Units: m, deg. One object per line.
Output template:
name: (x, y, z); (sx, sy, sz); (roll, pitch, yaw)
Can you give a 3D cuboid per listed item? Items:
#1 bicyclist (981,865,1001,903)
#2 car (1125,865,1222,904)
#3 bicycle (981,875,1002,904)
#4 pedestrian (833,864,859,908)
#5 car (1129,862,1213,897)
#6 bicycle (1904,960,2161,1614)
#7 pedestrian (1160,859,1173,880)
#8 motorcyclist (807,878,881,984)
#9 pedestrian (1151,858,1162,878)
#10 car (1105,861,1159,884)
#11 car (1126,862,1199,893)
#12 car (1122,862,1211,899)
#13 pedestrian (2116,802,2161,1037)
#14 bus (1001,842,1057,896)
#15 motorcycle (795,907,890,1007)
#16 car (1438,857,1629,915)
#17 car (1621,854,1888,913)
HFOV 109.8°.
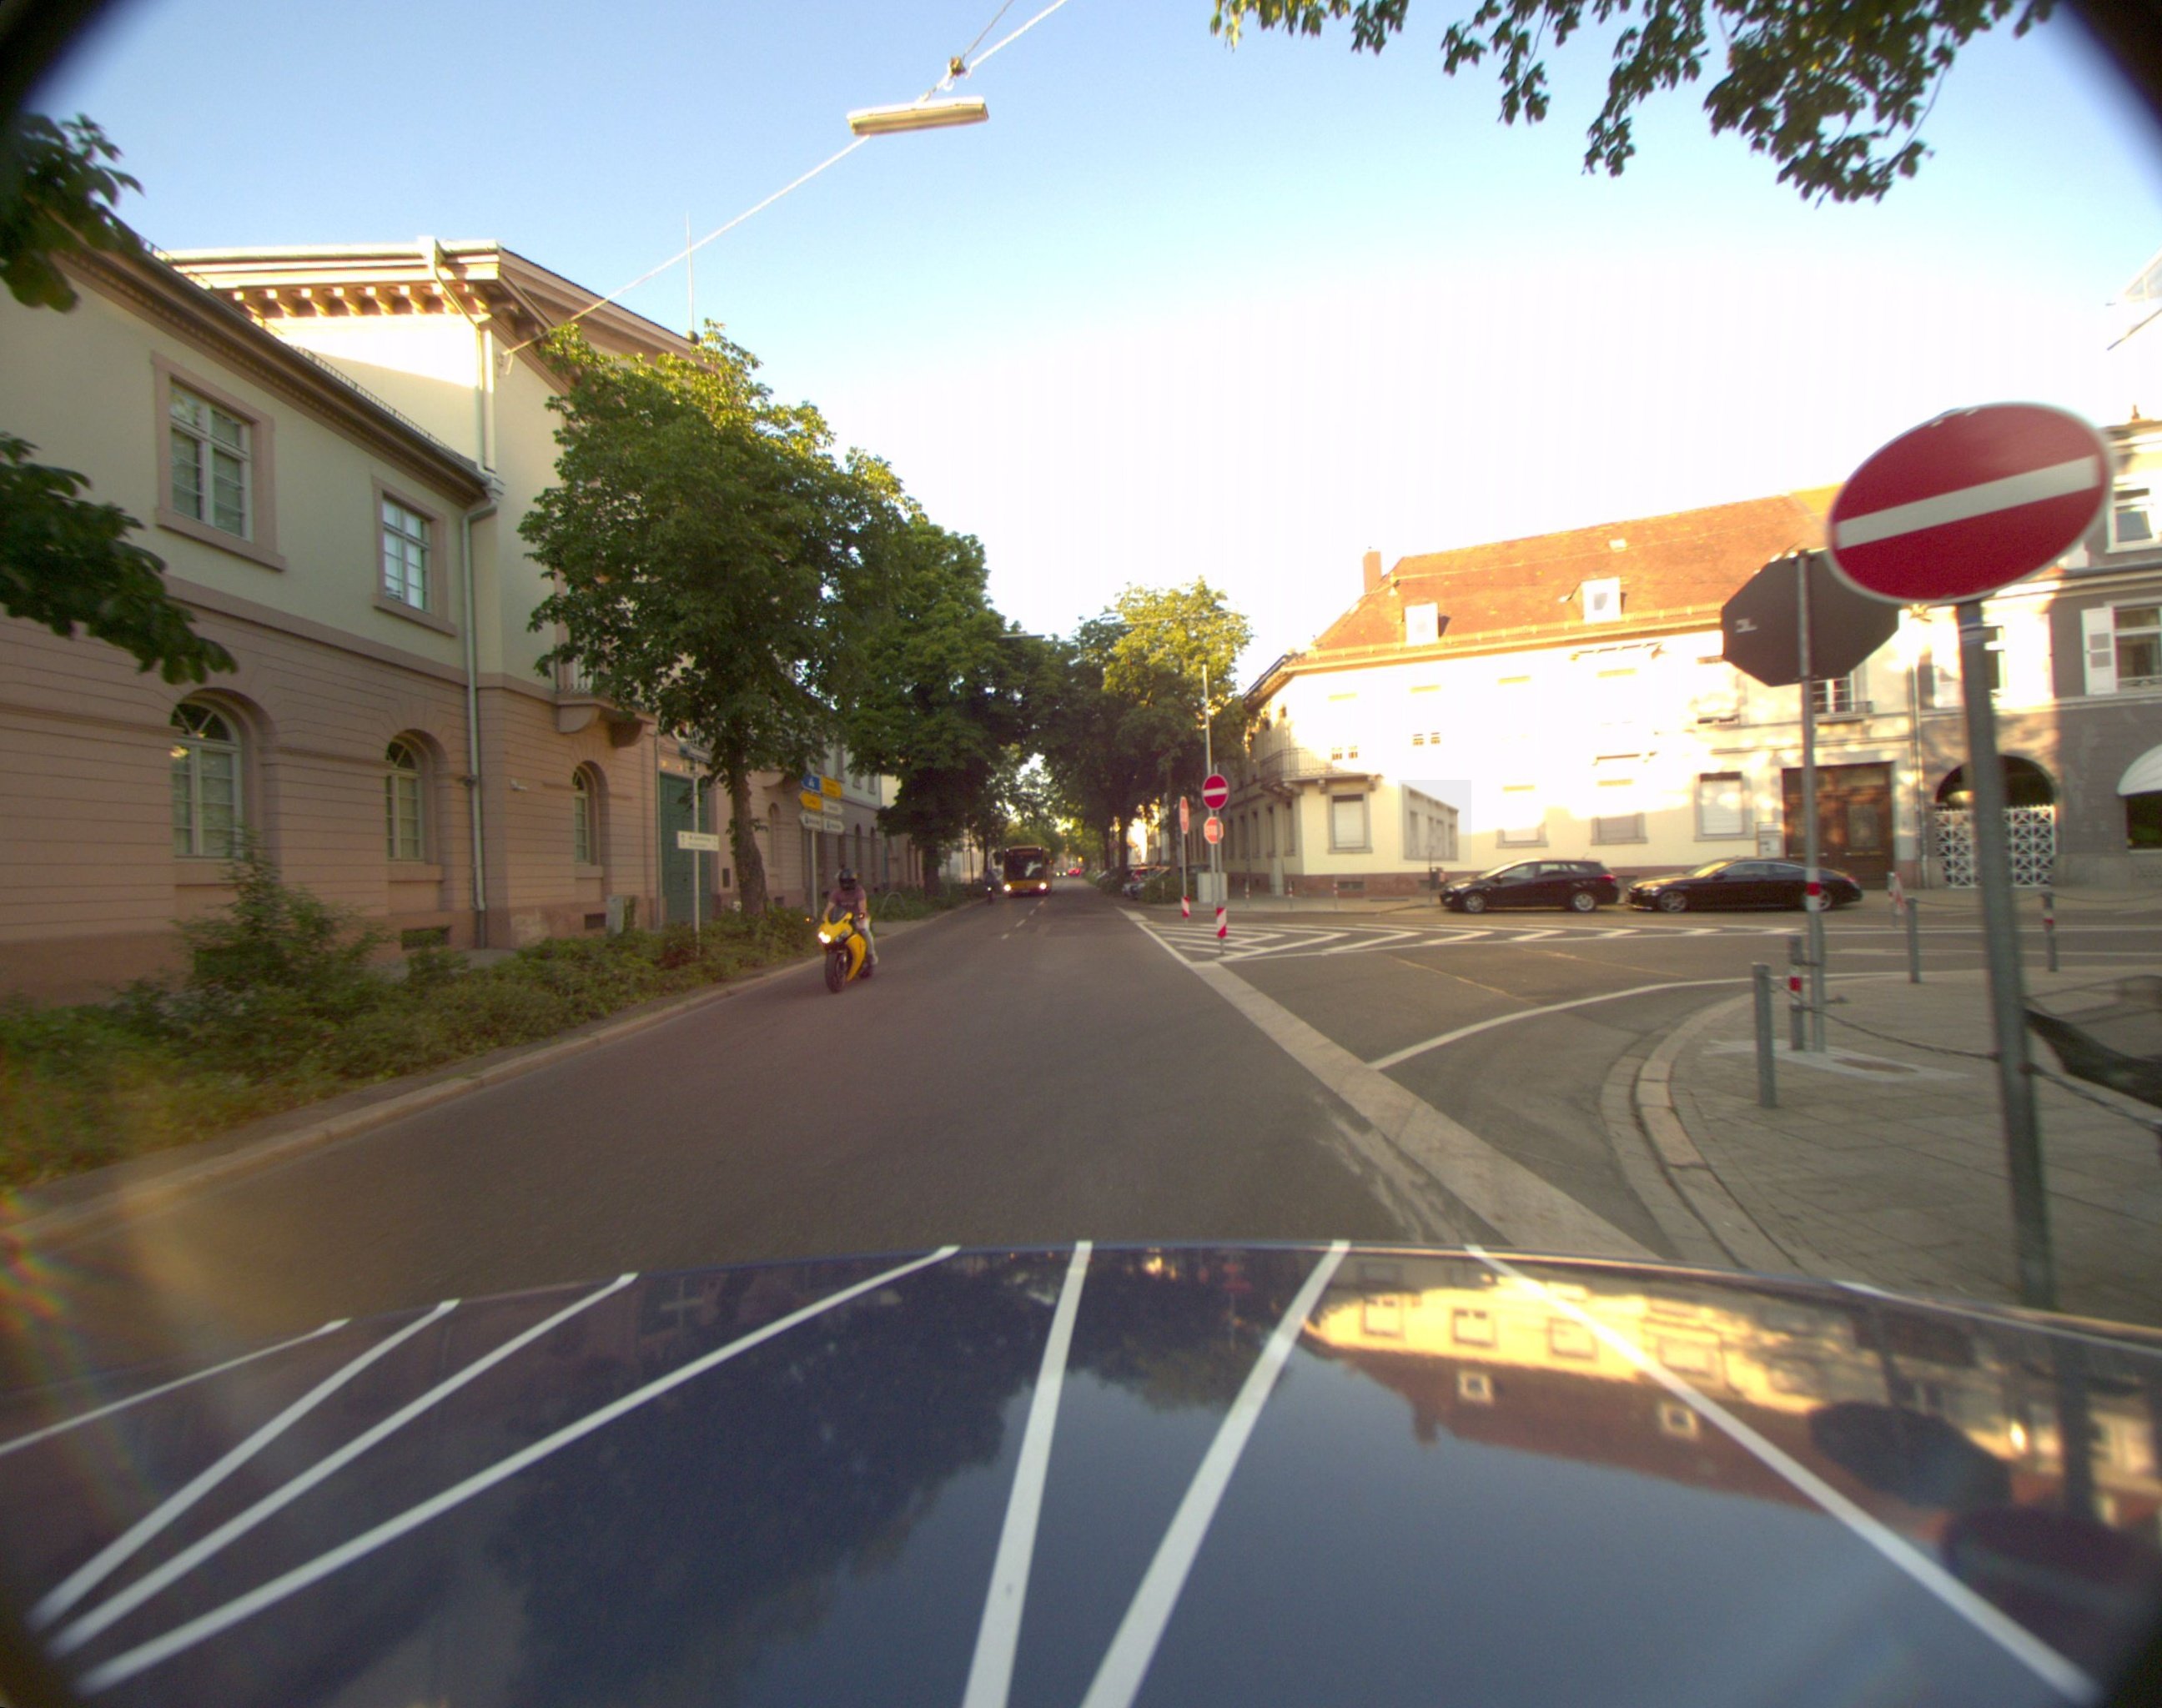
bicyclist: (-4.509, 1.510, 38.232); (0.783, 1.828, 0.826); (-4, 0, -1)
car: (4.062, 1.331, 33.749); (3.998, 1.605, 1.828); (-2, 0, -2)
bicycle: (-4.494, 1.768, 38.280); (0.783, 1.322, 2.078); (-4, 0, 0)
pedestrian: (-10.092, 1.352, 32.671); (0.800, 1.821, 0.929); (-2, 0, -3)
car: (4.517, 1.287, 38.592); (3.998, 1.605, 1.723); (-2, 0, -2)
bicycle: (2.441, 0.912, 0.819); (0.844, 1.259, 2.576); (-1, -1, 15)
pedestrian: (7.355, 1.309, 65.255); (0.894, 1.760, 1.021); (-2, 0, -1)
motorcyclist: (-3.378, 1.071, 10.893); (0.793, 1.412, 0.699); (-3, 0, -4)
pedestrian: (6.498, 1.199, 65.237); (0.806, 1.760, 1.021); (-2, 0, -1)
car: (3.913, 1.442, 58.603); (3.998, 1.605, 1.723); (-2, 0, -2)
car: (4.742, 1.356, 44.563); (3.998, 1.605, 1.723); (-2, 0, -2)
car: (4.061, 1.263, 36.417); (3.998, 1.605, 1.723); (-2, 0, -2)
pedestrian: (8.452, 0.443, 5.220); (0.851, 1.728, 1.266); (-2, -2, -12)
bus: (-3.217, 0.965, 50.375); (2.711, 2.982, 12.082); (-4, -1, 0)
motorcycle: (-3.372, 1.419, 10.932); (0.793, 1.153, 1.966); (-3, 0, -3)
car: (12.709, 0.911, 21.690); (4.420, 1.532, 1.810); (-2, -1, 23)
car: (17.172, 0.793, 19.735); (4.846, 1.386, 1.782); (-2, -1, 24)
